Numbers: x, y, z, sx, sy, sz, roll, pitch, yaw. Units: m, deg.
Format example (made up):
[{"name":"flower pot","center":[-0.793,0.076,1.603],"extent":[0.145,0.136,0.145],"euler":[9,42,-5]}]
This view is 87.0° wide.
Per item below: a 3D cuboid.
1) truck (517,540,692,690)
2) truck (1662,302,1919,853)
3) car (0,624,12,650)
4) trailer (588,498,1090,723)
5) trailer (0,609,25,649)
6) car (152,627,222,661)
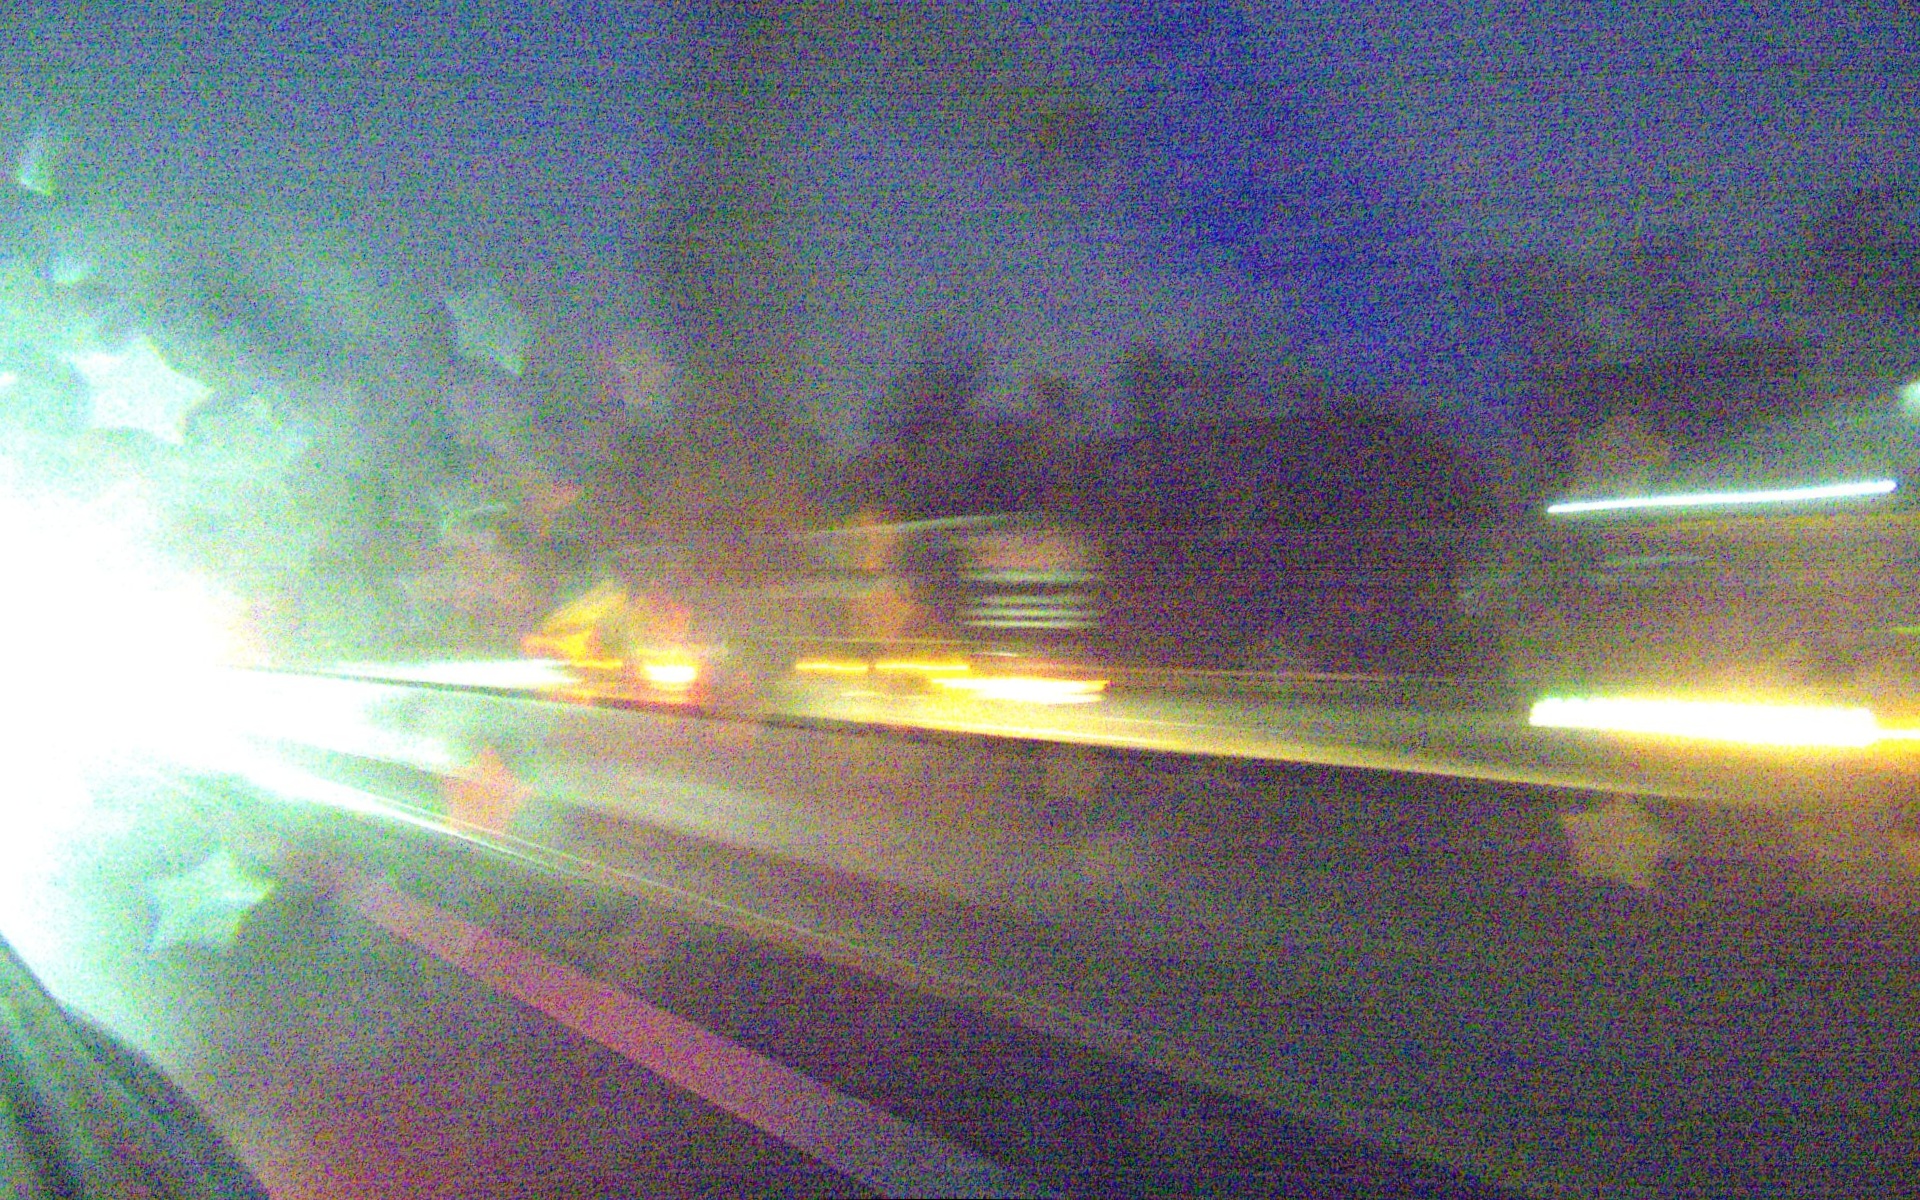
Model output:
[{"name":"truck","center":[-11.168,0.464,31.568],"extent":[5.732,4.253,2.662],"euler":[-1,0,41]},{"name":"truck","center":[9.451,-0.209,8.330],"extent":[5.732,4.414,2.663],"euler":[-1,0,41]},{"name":"car","center":[-78.119,3.035,81.596],"extent":[4.292,2.029,1.973],"euler":[-4,-1,41]},{"name":"trailer","center":[-4.061,0.312,25.292],"extent":[15.636,4.253,2.662],"euler":[-1,0,41]},{"name":"trailer","center":[-121.176,3.776,128.366],"extent":[10.162,4.860,2.381],"euler":[-2,-1,40]},{"name":"car","center":[-43.032,2.407,56.285],"extent":[4.954,1.787,1.974],"euler":[-1,-2,39]}]
